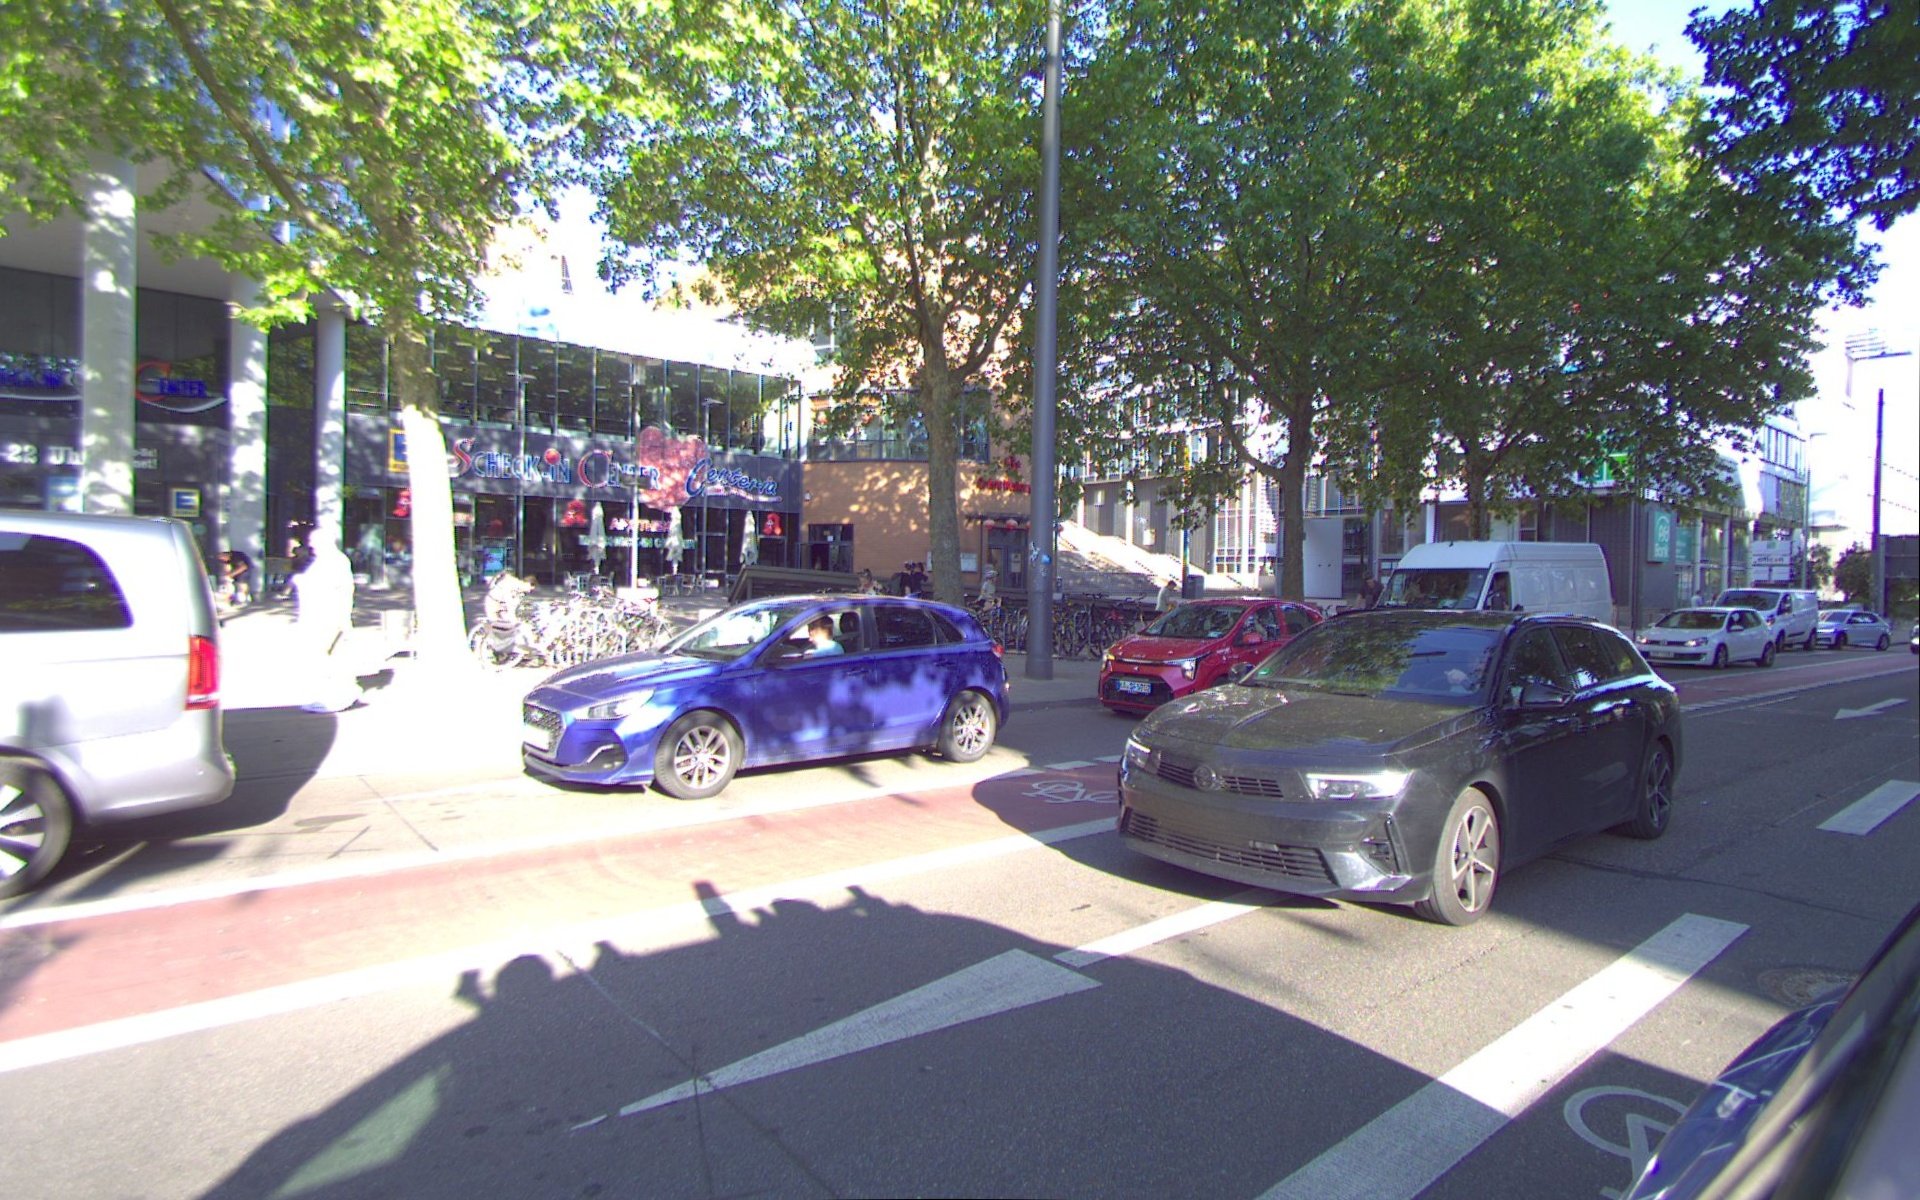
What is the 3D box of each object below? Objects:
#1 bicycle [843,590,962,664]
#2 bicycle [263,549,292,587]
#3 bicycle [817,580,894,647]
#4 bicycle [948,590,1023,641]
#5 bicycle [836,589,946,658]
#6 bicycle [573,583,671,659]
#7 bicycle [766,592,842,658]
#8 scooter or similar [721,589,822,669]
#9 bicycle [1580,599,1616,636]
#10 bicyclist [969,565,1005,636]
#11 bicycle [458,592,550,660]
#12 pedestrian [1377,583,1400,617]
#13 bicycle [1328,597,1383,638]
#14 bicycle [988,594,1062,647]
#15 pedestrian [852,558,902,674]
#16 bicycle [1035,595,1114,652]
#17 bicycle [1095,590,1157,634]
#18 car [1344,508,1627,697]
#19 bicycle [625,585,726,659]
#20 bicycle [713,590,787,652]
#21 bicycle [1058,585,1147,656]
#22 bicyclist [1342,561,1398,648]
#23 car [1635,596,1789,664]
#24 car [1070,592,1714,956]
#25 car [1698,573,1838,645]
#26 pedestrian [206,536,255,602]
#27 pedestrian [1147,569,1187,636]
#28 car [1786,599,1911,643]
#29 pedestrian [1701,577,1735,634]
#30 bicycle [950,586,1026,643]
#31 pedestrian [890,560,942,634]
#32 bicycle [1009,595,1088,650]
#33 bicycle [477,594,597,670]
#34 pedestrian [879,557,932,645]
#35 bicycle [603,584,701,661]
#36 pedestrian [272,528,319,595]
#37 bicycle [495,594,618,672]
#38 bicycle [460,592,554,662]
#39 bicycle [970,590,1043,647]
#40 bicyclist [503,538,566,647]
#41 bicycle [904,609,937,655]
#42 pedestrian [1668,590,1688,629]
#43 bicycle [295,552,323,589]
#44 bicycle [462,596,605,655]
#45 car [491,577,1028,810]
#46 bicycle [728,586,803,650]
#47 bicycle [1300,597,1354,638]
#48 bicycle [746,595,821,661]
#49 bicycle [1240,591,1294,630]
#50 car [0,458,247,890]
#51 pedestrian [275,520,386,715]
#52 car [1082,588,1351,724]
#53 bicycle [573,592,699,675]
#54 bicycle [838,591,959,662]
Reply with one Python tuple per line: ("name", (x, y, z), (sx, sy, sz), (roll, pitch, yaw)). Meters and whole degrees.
("bicycle", (-0.917, 0.429, 16.065), (1.788, 1.130, 0.598), (1, 1, -13))
("bicycle", (-21.302, -1.009, 31.611), (0.705, 1.142, 1.921), (1, 2, -32))
("bicycle", (-1.884, 0.230, 18.426), (0.478, 1.174, 1.455), (2, 1, 41))
("bicycle", (0.602, 0.357, 24.084), (1.746, 1.140, 0.567), (1, 1, 4))
("bicycle", (-1.197, 0.402, 17.457), (1.788, 1.130, 0.598), (1, 1, -13))
("bicycle", (-5.519, 0.328, 16.563), (1.450, 1.174, 0.421), (0, 1, -40))
("bicycle", (-2.877, 0.444, 18.768), (0.420, 1.174, 1.455), (2, 1, 41))
("scooter or similar", (-2.931, 0.440, 15.714), (1.249, 1.156, 0.905), (-2, 0, 37))
("bicycle", (20.630, 0.560, 32.730), (1.511, 1.173, 0.514), (0, 1, -39))
("bicyclist", (0.641, 0.002, 24.077), (0.807, 1.636, 0.563), (1, 1, 4))
("bicycle", (-7.178, 0.403, 15.946), (1.293, 1.038, 0.397), (1, 1, -24))
("pedestrian", (18.994, 0.005, 44.864), (0.589, 1.474, 0.713), (1, 1, -37))
("bicycle", (10.651, 0.450, 27.217), (1.624, 1.060, 0.597), (0, 1, -37))
("bicycle", (1.359, 0.415, 20.902), (1.626, 1.044, 0.503), (0, 1, -41))
("pedestrian", (-1.338, 0.246, 16.272), (0.644, 1.808, 0.810), (1, 1, -14))
("bicycle", (2.251, 0.441, 19.790), (1.626, 1.044, 0.596), (0, 2, -41))
("bicycle", (4.433, 0.307, 27.013), (1.622, 1.140, 0.598), (0, 1, -32))
("car", (9.324, 0.028, 17.634), (6.443, 2.759, 1.998), (0, 0, -39))
("bicycle", (-4.392, 0.320, 15.685), (1.451, 1.095, 0.421), (0, 1, -42))
("bicycle", (-4.094, 0.394, 19.820), (0.420, 1.174, 1.455), (2, 1, 41))
("bicycle", (2.737, 0.373, 19.313), (1.843, 1.280, 0.596), (0, 1, -41))
("bicyclist", (8.307, 0.073, 20.504), (0.701, 1.709, 0.752), (1, 1, -37))
("car", (18.223, 0.675, 24.490), (3.792, 1.482, 1.674), (0, 1, -31))
("car", (2.804, 0.683, 6.085), (4.268, 1.443, 1.826), (0, 0, -40))
("car", (26.259, 0.249, 32.831), (5.189, 2.160, 2.130), (0, 2, -35))
("pedestrian", (-18.877, -0.796, 26.192), (0.951, 1.661, 0.865), (0, 1, -41))
("pedestrian", (5.232, 0.051, 25.586), (0.623, 1.651, 0.719), (1, 1, -34))
("car", (31.677, 0.747, 36.096), (3.937, 1.437, 1.791), (1, 1, -23))
("pedestrian", (27.787, 0.193, 37.110), (0.652, 2.039, 0.809), (0, 0, -34))
("bicycle", (0.607, 0.301, 21.711), (1.662, 1.174, 0.479), (0, 1, -37))
("pedestrian", (-1.092, -0.085, 25.053), (1.000, 1.779, 0.789), (0, 1, -35))
("bicycle", (1.783, 0.439, 20.269), (1.626, 1.044, 0.596), (0, 2, -41))
("bicycle", (-6.138, 0.441, 14.735), (1.546, 1.038, 0.461), (0, 2, -43))
("pedestrian", (-1.135, 0.015, 20.974), (0.756, 1.779, 0.820), (1, 1, -35))
("bicycle", (-4.907, 0.343, 16.193), (1.451, 1.174, 0.421), (0, 1, -42))
("pedestrian", (-18.965, -1.087, 28.903), (0.834, 1.866, 1.002), (1, 1, -15))
("bicycle", (-5.680, 0.441, 14.299), (1.546, 1.038, 0.461), (0, 2, -43))
("bicycle", (-6.928, 0.403, 15.507), (1.293, 1.038, 0.397), (1, 1, -24))
("bicycle", (0.991, 0.374, 21.323), (1.626, 1.151, 0.503), (0, 1, -41))
("bicyclist", (-7.170, -0.131, 17.078), (0.834, 1.789, 0.754), (1, 1, -12))
("bicycle", (-0.729, 0.573, 18.493), (0.391, 0.770, 1.114), (1, 1, -13))
("pedestrian", (31.265, 0.403, 44.077), (0.710, 1.697, 0.539), (0, 1, -42))
("bicycle", (-20.668, -0.953, 32.156), (0.705, 1.142, 1.921), (1, 2, -32))
("bicycle", (-7.168, 0.427, 17.097), (2.138, 0.945, 0.669), (1, 1, -13))
("car", (-1.522, 0.586, 8.582), (4.143, 1.482, 1.768), (0, 2, -41))
("bicycle", (-3.715, 0.329, 19.440), (0.420, 1.174, 1.455), (2, 1, 41))
("bicycle", (10.061, 0.472, 27.727), (1.624, 1.060, 0.597), (0, 1, -37))
("bicycle", (-3.309, 0.510, 19.056), (0.420, 1.174, 1.455), (2, 1, 41))
("bicycle", (8.639, 0.284, 28.501), (1.624, 1.060, 0.597), (0, 1, -37))
("car", (-6.270, 0.338, 4.387), (5.047, 1.991, 1.997), (0, 0, -41))
("pedestrian", (-6.211, 0.148, 9.975), (0.794, 1.808, 0.873), (0, 1, -41))
("car", (3.321, 0.599, 12.806), (3.558, 1.482, 1.561), (0, 1, -41))
("bicycle", (-4.480, 0.440, 14.027), (1.542, 1.070, 0.630), (0, 1, -35))
("bicycle", (-1.022, 0.437, 16.734), (1.908, 1.130, 0.598), (1, 1, -13))
